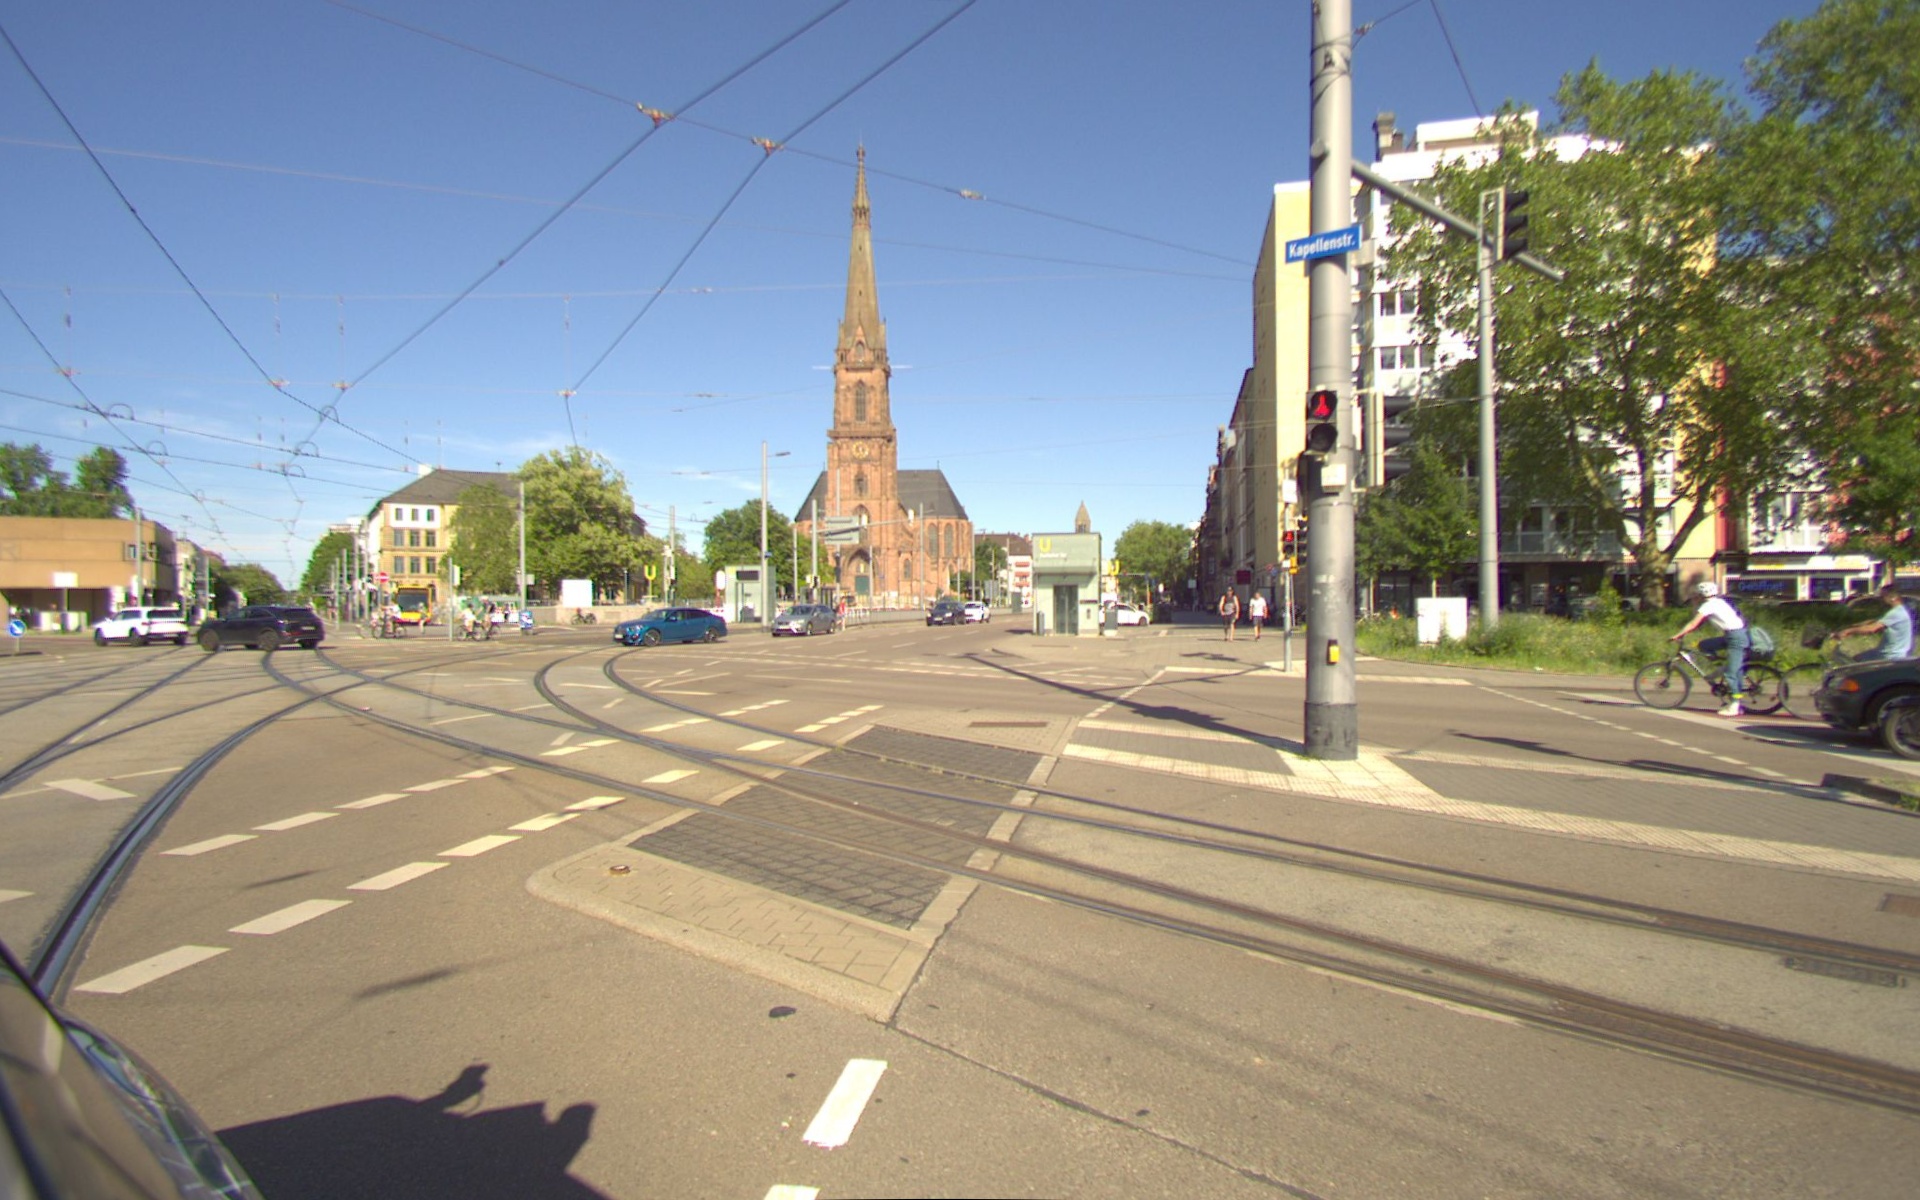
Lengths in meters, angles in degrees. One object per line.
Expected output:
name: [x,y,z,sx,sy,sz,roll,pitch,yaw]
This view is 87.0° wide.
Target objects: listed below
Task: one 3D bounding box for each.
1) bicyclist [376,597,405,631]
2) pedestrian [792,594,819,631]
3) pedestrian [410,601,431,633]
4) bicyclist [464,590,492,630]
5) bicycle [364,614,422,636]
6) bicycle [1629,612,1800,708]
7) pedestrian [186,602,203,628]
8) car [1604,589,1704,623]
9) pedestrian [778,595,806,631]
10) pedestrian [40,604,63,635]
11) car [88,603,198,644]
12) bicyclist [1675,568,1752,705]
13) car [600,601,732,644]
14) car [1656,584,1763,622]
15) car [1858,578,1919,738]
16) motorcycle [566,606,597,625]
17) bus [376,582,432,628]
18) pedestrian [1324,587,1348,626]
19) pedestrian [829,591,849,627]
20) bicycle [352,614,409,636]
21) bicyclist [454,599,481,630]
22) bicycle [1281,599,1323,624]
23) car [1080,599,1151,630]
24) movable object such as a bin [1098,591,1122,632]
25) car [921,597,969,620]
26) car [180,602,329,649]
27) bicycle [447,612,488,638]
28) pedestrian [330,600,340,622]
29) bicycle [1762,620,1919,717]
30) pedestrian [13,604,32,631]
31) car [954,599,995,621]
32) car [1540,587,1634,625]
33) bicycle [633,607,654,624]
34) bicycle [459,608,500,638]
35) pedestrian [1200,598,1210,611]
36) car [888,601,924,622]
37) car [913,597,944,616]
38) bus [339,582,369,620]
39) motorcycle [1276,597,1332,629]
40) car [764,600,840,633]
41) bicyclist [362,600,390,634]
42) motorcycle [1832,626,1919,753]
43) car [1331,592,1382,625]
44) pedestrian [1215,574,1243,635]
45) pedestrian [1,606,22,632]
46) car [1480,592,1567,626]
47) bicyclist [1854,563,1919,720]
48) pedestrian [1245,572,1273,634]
bicyclist: [-27.003,0.654,47.984,0.593,1.561,0.986,-1,1,29]
pedestrian: [-8.290,0.684,54.447,0.990,1.917,0.983,-1,2,32]
pedestrian: [-27.576,0.853,51.749,0.606,1.619,0.707,-1,2,31]
bicyclist: [-20.863,0.428,43.795,0.751,1.688,0.793,-1,0,9]
bicycle: [-26.926,1.180,48.109,0.613,0.997,2.453,-1,0,28]
bicycle: [10.031,0.773,13.507,0.531,1.193,1.754,0,-1,-45]
pedestrian: [-57.851,1.147,76.488,0.844,1.895,0.695,-2,2,-25]
car: [30.489,0.265,44.614,1.976,1.399,3.992,-1,0,7]
pedestrian: [-8.768,0.687,52.775,0.993,1.813,0.981,0,2,39]
pedestrian: [-55.804,1.187,62.165,0.844,1.842,0.704,-2,2,-25]
car: [-34.778,0.988,43.054,4.542,1.653,1.985,-1,0,27]
bicyclist: [10.036,0.470,13.481,0.567,1.755,0.678,-3,0,-44]
car: [-11.125,0.804,38.551,1.913,1.469,4.537,0,1,41]
car: [32.674,0.120,44.269,1.976,1.510,3.992,-1,0,6]
car: [10.580,0.539,8.856,1.630,1.490,3.973,1,-1,-45]
motorcycle: [-28.432,1.153,75.960,2.071,1.263,0.536,-3,2,-34]
bus: [-44.714,0.292,81.196,2.803,3.144,11.852,-3,3,-34]
pedestrian: [16.047,0.261,43.210,0.643,1.633,0.761,-2,1,-7]
pedestrian: [-6.587,0.497,55.091,0.980,1.917,0.994,-2,1,-2]
bicycle: [-27.800,1.206,48.605,0.613,0.997,2.453,-1,0,28]
bicyclist: [-21.885,0.645,44.959,0.754,1.332,0.790,-1,0,19]
bicycle: [17.578,0.574,52.049,1.929,1.225,0.616,-1,1,14]
car: [9.782,0.898,63.717,3.931,1.765,2.007,-2,2,-27]
movable object such as a bin: [6.332,0.473,42.588,0.927,1.646,0.988,-1,1,11]
car: [-0.873,0.499,61.591,1.780,1.338,4.579,0,1,14]
car: [-25.775,0.901,37.014,4.588,1.589,2.034,0,1,16]
bicycle: [-21.874,1.106,44.987,0.611,1.113,1.714,-1,0,18]
pedestrian: [-54.326,0.922,87.983,0.679,1.875,0.731,-2,2,-29]
bicycle: [10.548,0.782,11.916,0.531,1.082,1.655,0,-1,-45]
pedestrian: [-62.627,1.166,67.600,0.633,1.725,0.704,-2,1,-19]
car: [1.038,0.664,69.200,1.780,1.338,4.579,0,1,14]
car: [27.758,0.244,44.930,1.976,1.576,3.992,-1,0,7]
bicycle: [-24.566,1.206,78.647,1.476,1.279,0.366,-2,2,-29]
bicycle: [-20.837,0.987,43.929,0.609,1.266,1.959,-1,0,9]
pedestrian: [26.058,0.467,107.572,0.936,1.392,1.094,-1,2,13]
car: [-3.767,0.774,70.716,1.890,1.371,3.993,-1,0,6]
car: [-2.415,0.510,78.618,1.890,1.371,3.993,-1,0,6]
bus: [-53.062,0.103,88.617,2.105,3.069,8.583,-2,1,-31]
motorcycle: [14.346,0.505,42.152,1.289,1.186,2.932,0,2,38]
car: [-7.109,0.713,46.145,1.780,1.338,4.579,0,1,14]
bicyclist: [-27.918,0.804,48.391,0.574,1.540,0.947,-1,2,28]
motorcycle: [8.469,0.752,8.444,0.512,1.055,1.748,0,-1,-43]
car: [18.972,0.390,48.555,1.726,1.510,3.983,-1,0,14]
pedestrian: [9.159,0.151,34.437,0.862,2.045,0.852,-1,1,18]
pedestrian: [-63.705,1.284,67.987,0.737,1.725,0.704,-2,1,-19]
car: [25.283,0.381,45.552,1.976,1.399,3.992,-1,0,7]
bicyclist: [10.789,0.464,11.689,0.601,1.755,0.567,-3,0,45]
pedestrian: [9.976,0.097,33.772,0.862,2.045,0.852,-1,1,18]
